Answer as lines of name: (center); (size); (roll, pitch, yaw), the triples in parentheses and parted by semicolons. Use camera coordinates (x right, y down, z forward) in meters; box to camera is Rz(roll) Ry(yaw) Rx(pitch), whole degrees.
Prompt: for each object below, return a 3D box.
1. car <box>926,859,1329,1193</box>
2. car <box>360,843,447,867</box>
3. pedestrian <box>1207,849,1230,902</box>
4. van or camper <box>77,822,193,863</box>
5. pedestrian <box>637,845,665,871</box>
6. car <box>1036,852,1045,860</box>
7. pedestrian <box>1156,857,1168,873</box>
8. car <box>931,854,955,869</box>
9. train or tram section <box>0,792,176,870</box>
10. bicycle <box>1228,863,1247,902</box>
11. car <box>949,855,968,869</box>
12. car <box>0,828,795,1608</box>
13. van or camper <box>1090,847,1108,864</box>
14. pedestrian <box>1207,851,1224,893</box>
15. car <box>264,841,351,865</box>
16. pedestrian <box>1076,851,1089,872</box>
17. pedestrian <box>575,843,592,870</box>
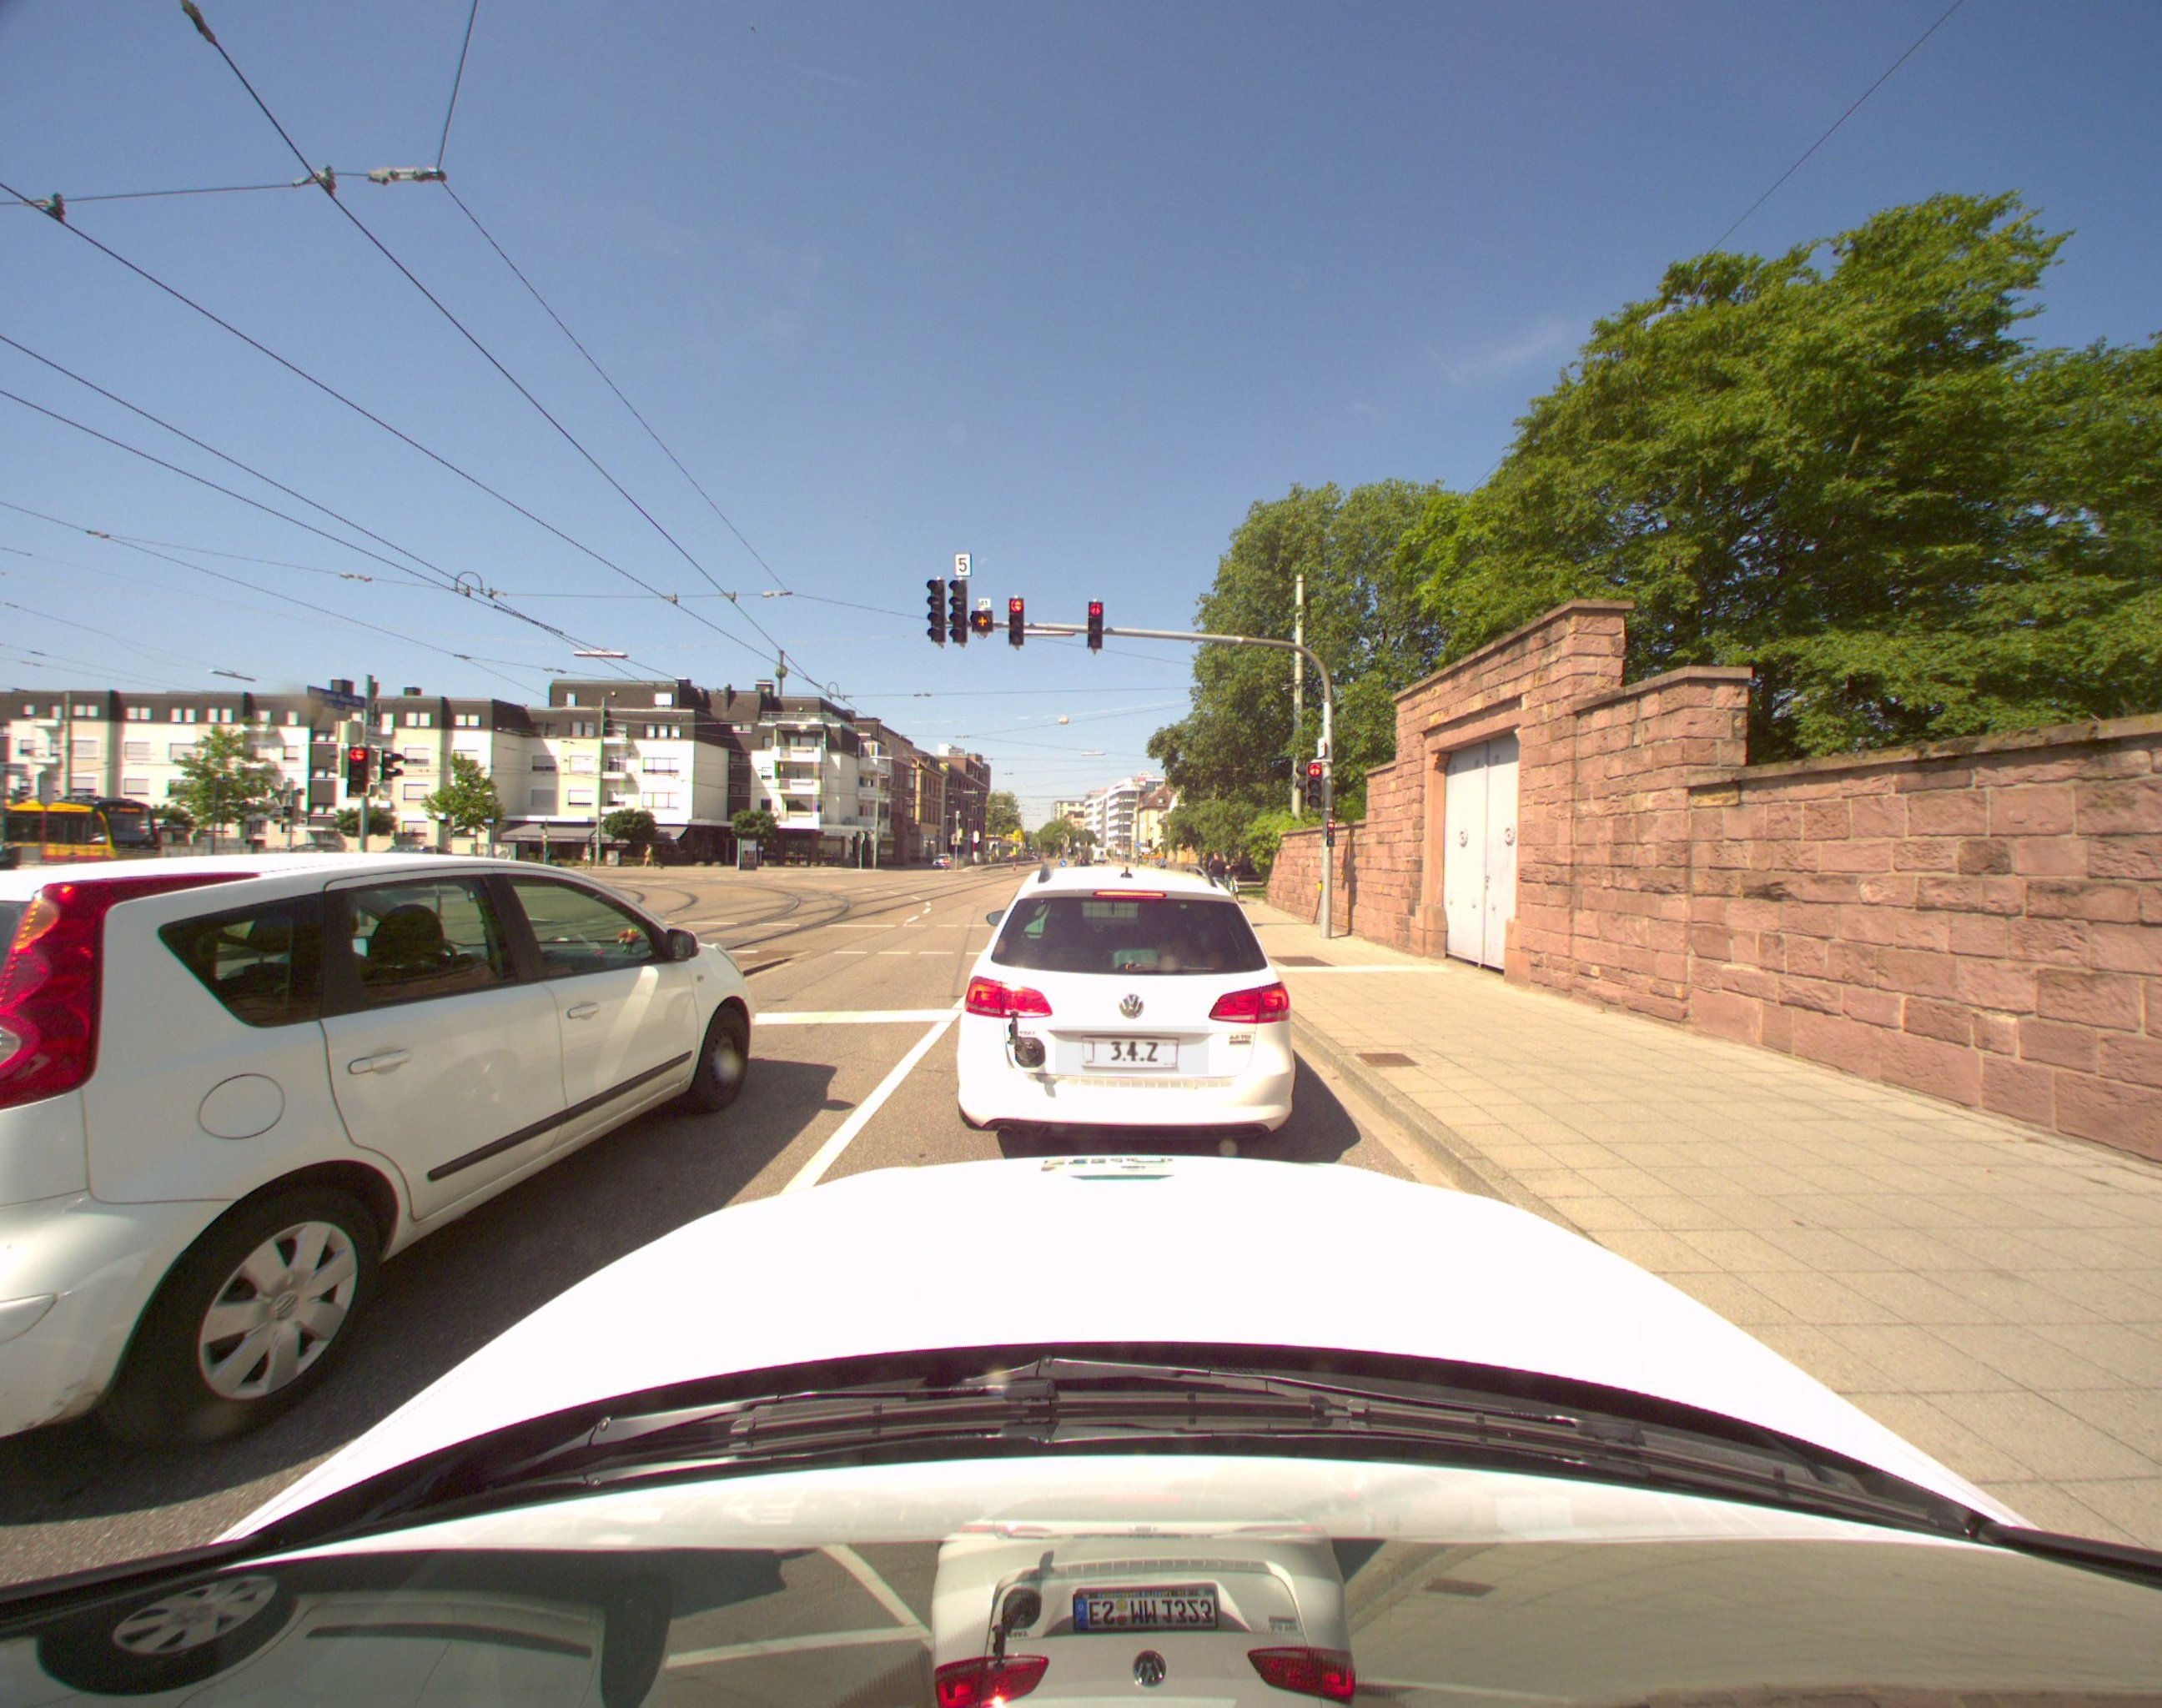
car: (0.267, 0.762, 5.497); (1.746, 1.418, 3.854); (1, 0, 2)
car: (-44.932, 0.079, 54.081); (4.158, 1.500, 1.828); (1, 0, 0)
pedestrian: (4.076, 0.642, 24.223); (0.538, 1.549, 0.663); (-1, 0, 1)
van or camper: (-62.649, -0.738, 54.004); (4.859, 2.624, 2.376); (1, 0, 0)
pedestrian: (-30.475, 0.304, 57.767); (1.108, 1.836, 1.448); (0, 0, 41)
car: (-10.280, 0.435, 205.398); (1.987, 2.014, 3.999); (0, -1, 0)
pedestrian: (7.409, 1.005, 74.831); (0.848, 1.510, 0.786); (1, 0, 27)
car: (-13.649, 0.764, 80.776); (1.620, 1.431, 3.962); (2, 0, 0)
train or tram section: (-53.593, -1.155, 40.590); (13.814, 3.658, 2.769); (1, 0, 1)
bicycle: (4.663, 0.829, 24.285); (0.532, 1.111, 1.812); (0, -1, 11)
car: (-13.357, 0.823, 88.628); (1.568, 1.459, 3.811); (1, 0, -2)
car: (-2.954, 0.738, 3.682); (1.759, 1.561, 4.068); (0, 0, 2)
van or camper: (3.410, 0.241, 155.154); (2.936, 3.180, 6.608); (1, 0, -2)
pedestrian: (5.400, 0.714, 32.710); (0.646, 1.682, 0.709); (1, 0, 8)
car: (-51.198, -0.067, 53.928); (3.973, 1.500, 1.828); (1, 0, 0)
pedestrian: (0.142, 0.683, 71.285); (0.823, 1.809, 0.834); (1, 0, 25)
pedestrian: (-33.629, 0.169, 55.077); (0.754, 1.760, 0.816); (0, -1, 45)
